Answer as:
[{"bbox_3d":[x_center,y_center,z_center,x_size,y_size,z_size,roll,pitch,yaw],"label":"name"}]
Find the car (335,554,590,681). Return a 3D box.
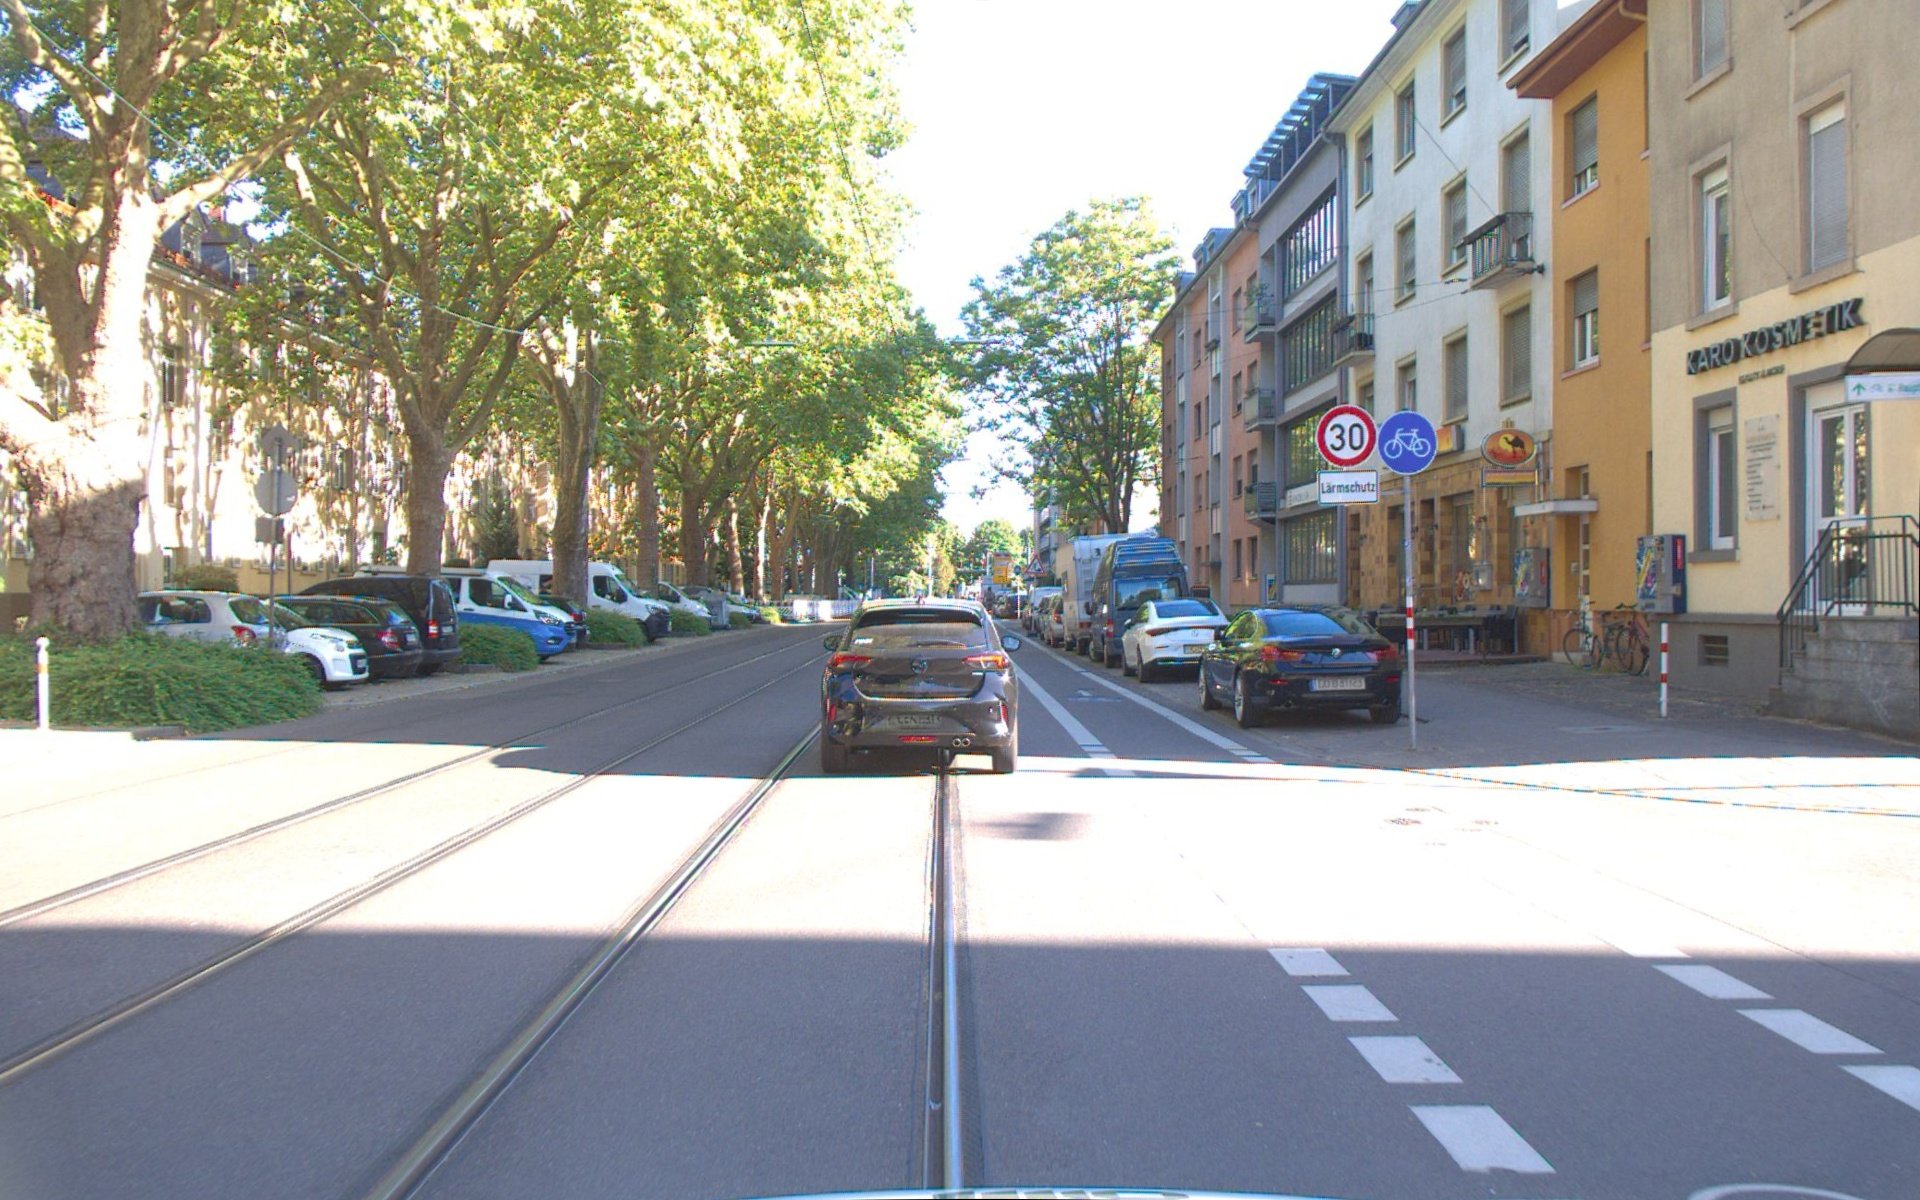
[{"bbox_3d":[-11.038,0.374,36.975,4.934,2.415,2.081,-4,0,0],"label":"car"}]

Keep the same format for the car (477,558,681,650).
[{"bbox_3d":[-11.388,0.118,49.686,5.521,2.638,2.197,0,0,3],"label":"car"}]

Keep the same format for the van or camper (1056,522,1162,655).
[{"bbox_3d":[3.905,-0.290,44.334,2.208,3.272,5.530,-2,0,-1],"label":"van or camper"}]

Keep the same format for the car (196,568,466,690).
[{"bbox_3d":[-11.419,0.510,30.273,4.220,1.872,1.779,-4,0,-8],"label":"car"}]

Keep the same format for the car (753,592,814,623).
[{"bbox_3d":[-11.963,0.482,112.246,3.905,2.049,2.000,0,0,0],"label":"car"}]

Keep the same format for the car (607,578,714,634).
[{"bbox_3d":[-11.329,0.232,62.831,3.914,2.049,1.996,0,0,-10],"label":"car"}]

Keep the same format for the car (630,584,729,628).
[{"bbox_3d":[-11.941,0.274,70.565,4.100,1.825,1.996,0,0,-10],"label":"car"}]

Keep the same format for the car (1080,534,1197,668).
[{"bbox_3d":[3.993,-0.005,37.769,2.042,2.820,4.697,-2,1,-1],"label":"car"}]

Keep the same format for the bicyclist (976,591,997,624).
[{"bbox_3d":[1.251,0.361,78.819,0.939,1.525,1.093,0,0,-2],"label":"bicyclist"}]

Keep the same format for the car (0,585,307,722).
[{"bbox_3d":[-11.703,0.751,23.359,4.220,1.621,1.779,-4,0,-8],"label":"car"}]

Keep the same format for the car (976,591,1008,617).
[{"bbox_3d":[2.398,0.280,124.384,2.208,1.873,5.530,-2,0,-1],"label":"car"}]

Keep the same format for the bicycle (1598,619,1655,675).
[{"bbox_3d":[10.113,0.694,25.144,0.464,0.803,1.793,0,0,11],"label":"bicycle"}]

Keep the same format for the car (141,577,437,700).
[{"bbox_3d":[-11.231,0.625,27.947,4.220,1.703,1.779,-4,0,-8],"label":"car"}]

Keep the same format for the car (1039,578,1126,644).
[{"bbox_3d":[3.750,0.332,51.529,2.208,1.873,5.530,-2,0,-1],"label":"car"}]

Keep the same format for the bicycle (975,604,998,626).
[{"bbox_3d":[1.254,0.703,78.838,0.948,1.016,2.582,0,0,-2],"label":"bicycle"}]

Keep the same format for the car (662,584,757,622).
[{"bbox_3d":[-11.506,0.157,75.991,4.274,1.694,1.996,0,0,-10],"label":"car"}]

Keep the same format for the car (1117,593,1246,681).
[{"bbox_3d":[4.014,0.675,30.565,1.767,1.459,3.999,-2,-1,-1],"label":"car"}]

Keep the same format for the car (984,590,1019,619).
[{"bbox_3d":[2.838,0.301,114.568,2.208,1.873,5.530,-2,0,-1],"label":"car"}]

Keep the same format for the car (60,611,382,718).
[{"bbox_3d":[-11.465,0.975,25.909,4.220,1.313,1.707,-4,0,-8],"label":"car"}]

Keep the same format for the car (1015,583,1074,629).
[{"bbox_3d":[3.674,0.240,72.718,2.208,1.873,5.530,-2,0,-1],"label":"car"}]

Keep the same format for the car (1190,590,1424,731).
[{"bbox_3d":[4.134,0.664,20.472,1.846,1.459,4.529,-3,0,-1],"label":"car"}]

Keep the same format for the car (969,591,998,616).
[{"bbox_3d":[1.867,0.286,133.889,2.208,1.873,5.530,-2,0,-1],"label":"car"}]

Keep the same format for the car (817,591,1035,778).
[{"bbox_3d":[-0.283,0.675,15.176,1.727,1.486,3.950,0,0,0],"label":"car"}]

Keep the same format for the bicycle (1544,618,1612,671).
[{"bbox_3d":[9.824,0.692,26.337,0.401,0.803,1.791,0,0,-1],"label":"bicycle"}]
